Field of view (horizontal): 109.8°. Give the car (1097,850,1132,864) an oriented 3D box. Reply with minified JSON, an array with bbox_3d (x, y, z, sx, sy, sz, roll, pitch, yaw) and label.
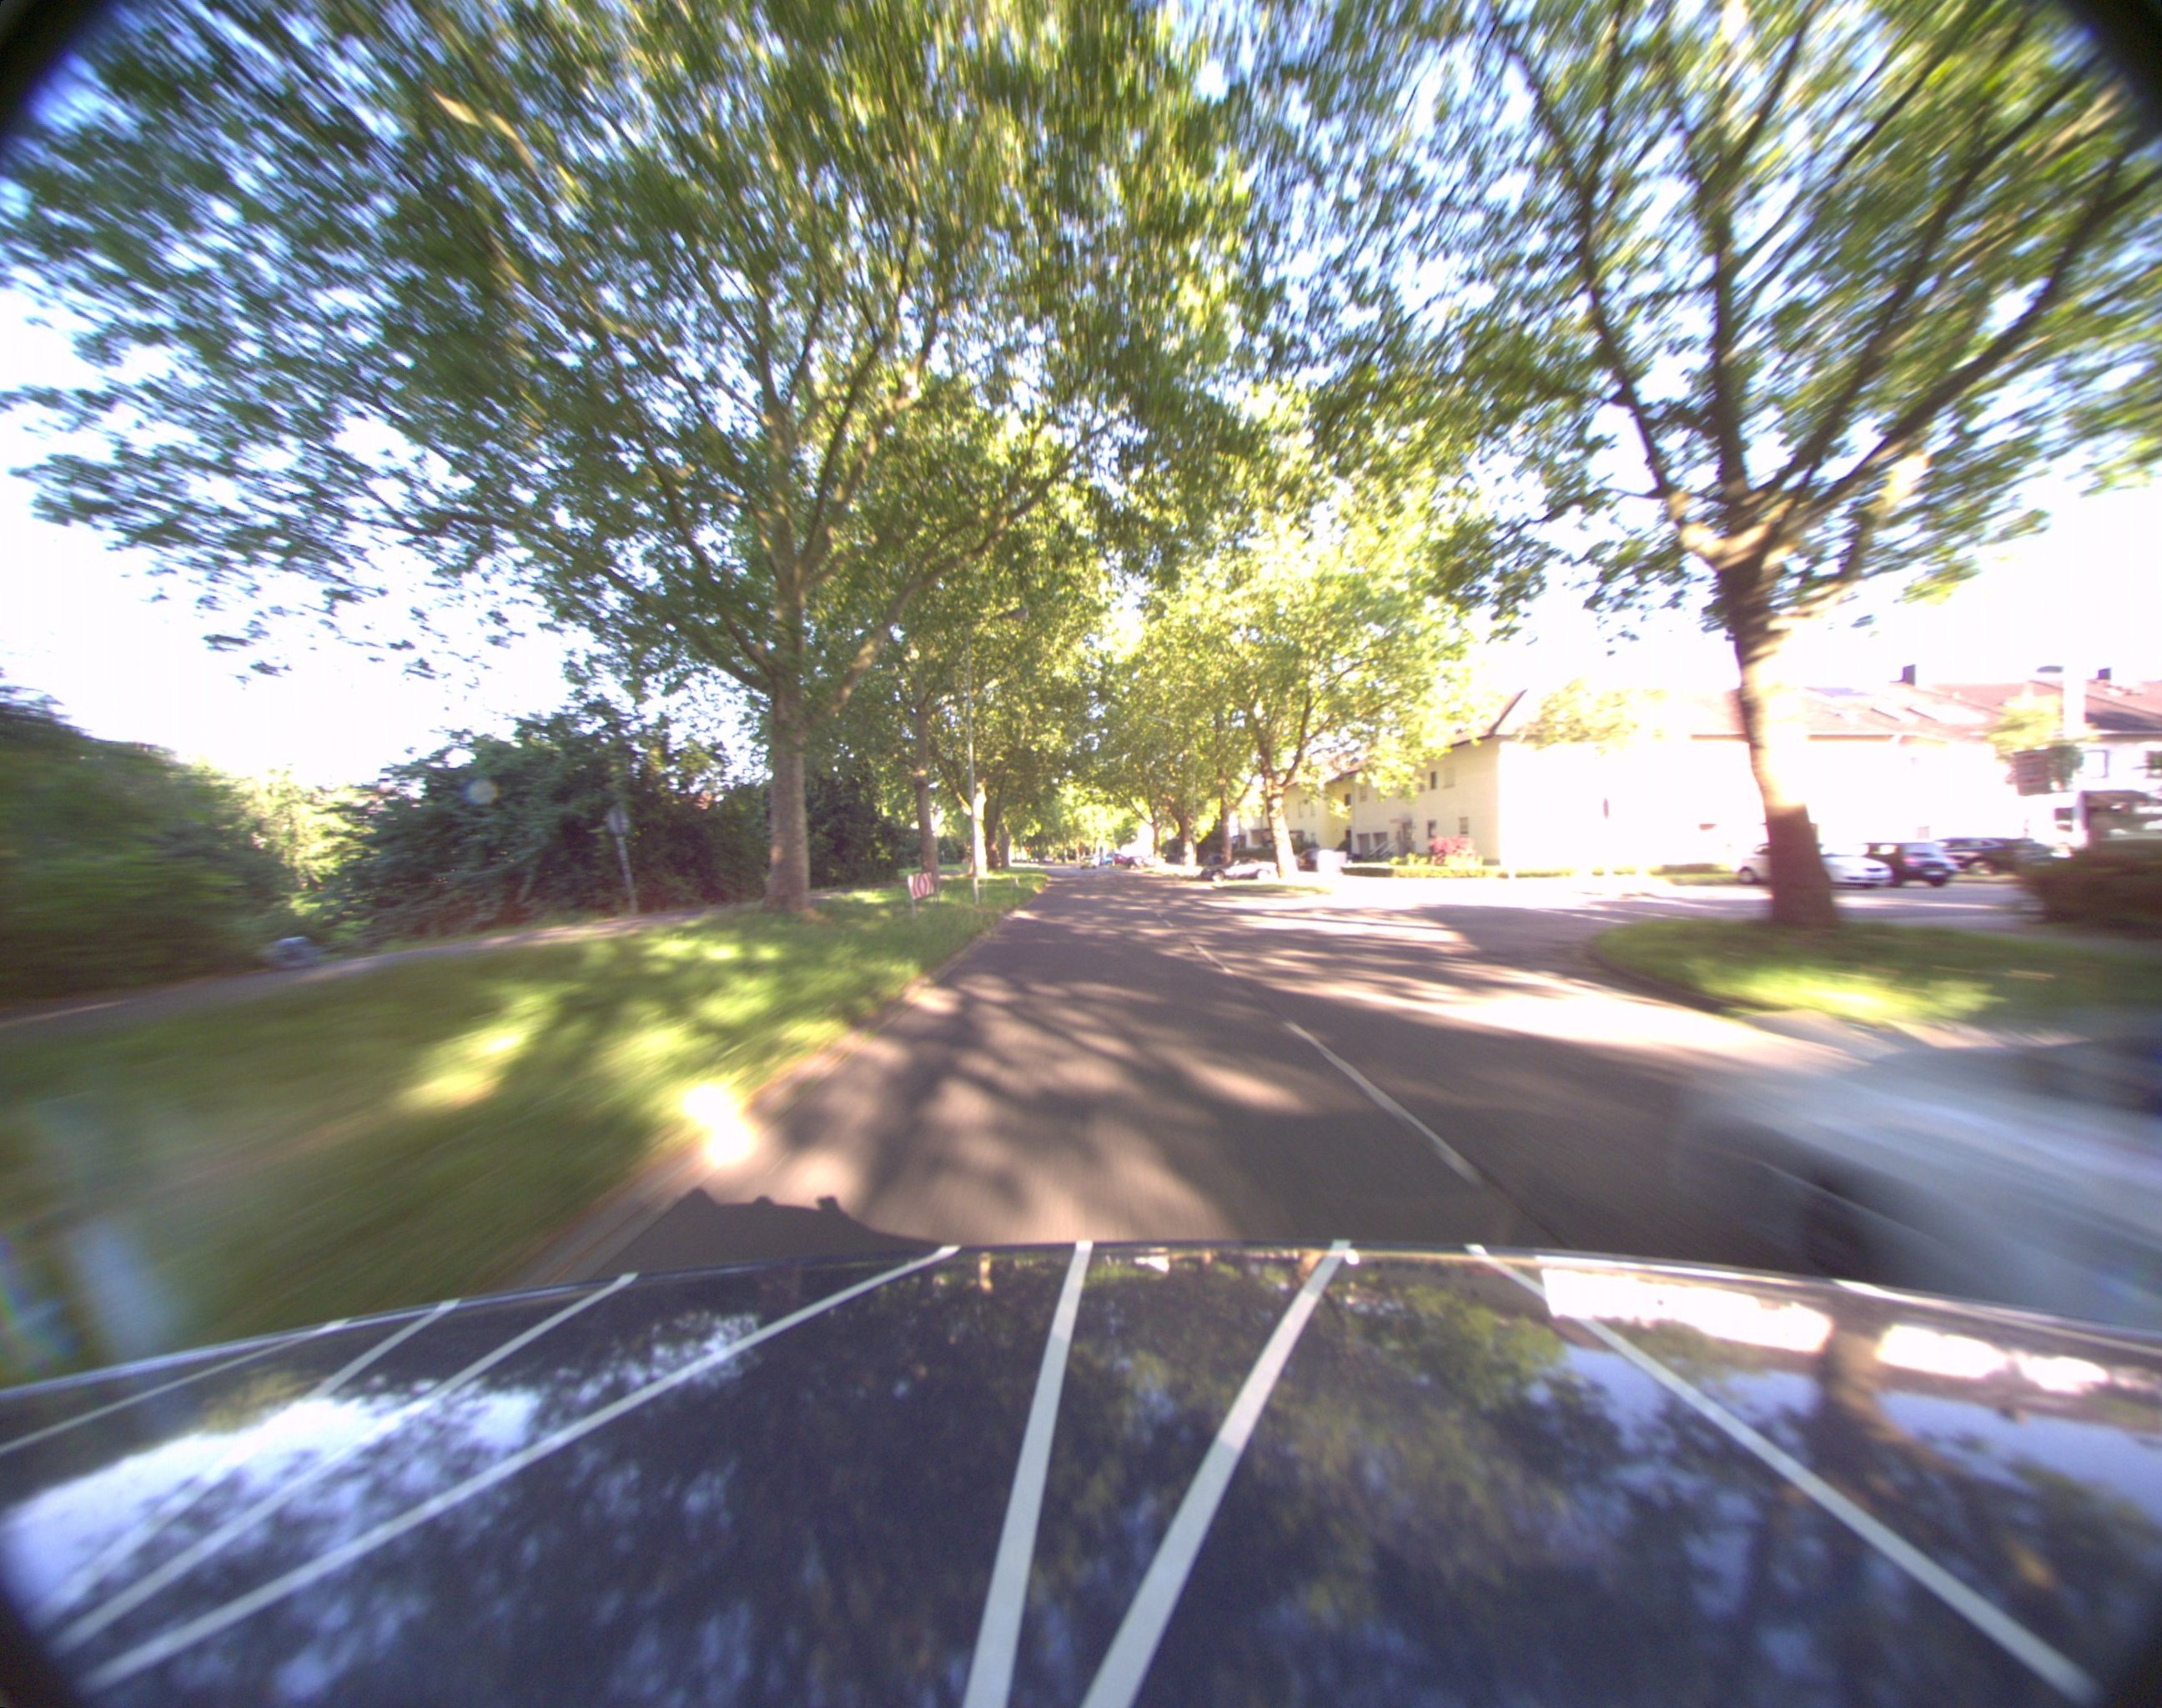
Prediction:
[{"bbox_3d":[4.550,0.346,102.953,4.399,1.813,1.994,-1,0,-7],"label":"car"}]

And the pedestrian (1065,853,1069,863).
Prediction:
[{"bbox_3d":[-2.568,0.720,138.495,0.637,1.709,0.825,1,0,-14],"label":"pedestrian"}]

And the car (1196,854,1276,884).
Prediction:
[{"bbox_3d":[8.250,0.788,40.598,3.836,1.308,1.789,-4,1,-2],"label":"car"}]

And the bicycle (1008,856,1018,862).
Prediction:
[{"bbox_3d":[-12.289,0.902,137.034,1.715,1.028,0.447,-1,-2,29],"label":"bicycle"}]

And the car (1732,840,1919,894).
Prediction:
[{"bbox_3d":[23.802,0.379,24.541,1.999,1.565,3.998,-2,0,-4],"label":"car"}]

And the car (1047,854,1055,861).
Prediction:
[{"bbox_3d":[-6.732,0.823,169.418,1.721,1.492,4.093,-1,0,-1],"label":"car"}]

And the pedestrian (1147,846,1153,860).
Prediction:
[{"bbox_3d":[8.748,-0.116,96.034,0.618,1.706,1.065,-1,1,-2],"label":"pedestrian"}]

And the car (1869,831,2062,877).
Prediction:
[{"bbox_3d":[33.358,0.001,28.888,1.999,1.565,4.462,-2,0,-4],"label":"car"}]

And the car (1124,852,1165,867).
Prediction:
[{"bbox_3d":[6.603,0.566,79.013,3.999,1.509,1.817,-2,0,-4],"label":"car"}]

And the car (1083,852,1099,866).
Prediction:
[{"bbox_3d":[1.166,0.604,88.462,1.789,1.504,3.837,-1,1,0],"label":"car"}]

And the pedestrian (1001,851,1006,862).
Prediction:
[{"bbox_3d":[-13.004,0.440,126.776,0.763,1.835,0.787,-1,0,-2],"label":"pedestrian"}]

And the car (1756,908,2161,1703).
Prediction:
[{"bbox_3d":[2.866,0.903,0.739,1.539,1.450,3.184,-1,0,-2],"label":"car"}]

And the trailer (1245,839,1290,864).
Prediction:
[{"bbox_3d":[16.954,-0.231,69.251,3.463,1.914,1.643,-5,-1,-4],"label":"trailer"}]

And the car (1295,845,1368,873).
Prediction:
[{"bbox_3d":[16.022,0.317,48.754,3.997,1.456,1.900,-4,1,-1],"label":"car"}]

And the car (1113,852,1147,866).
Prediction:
[{"bbox_3d":[6.013,0.613,93.071,3.883,1.510,1.663,-2,2,-7],"label":"car"}]
